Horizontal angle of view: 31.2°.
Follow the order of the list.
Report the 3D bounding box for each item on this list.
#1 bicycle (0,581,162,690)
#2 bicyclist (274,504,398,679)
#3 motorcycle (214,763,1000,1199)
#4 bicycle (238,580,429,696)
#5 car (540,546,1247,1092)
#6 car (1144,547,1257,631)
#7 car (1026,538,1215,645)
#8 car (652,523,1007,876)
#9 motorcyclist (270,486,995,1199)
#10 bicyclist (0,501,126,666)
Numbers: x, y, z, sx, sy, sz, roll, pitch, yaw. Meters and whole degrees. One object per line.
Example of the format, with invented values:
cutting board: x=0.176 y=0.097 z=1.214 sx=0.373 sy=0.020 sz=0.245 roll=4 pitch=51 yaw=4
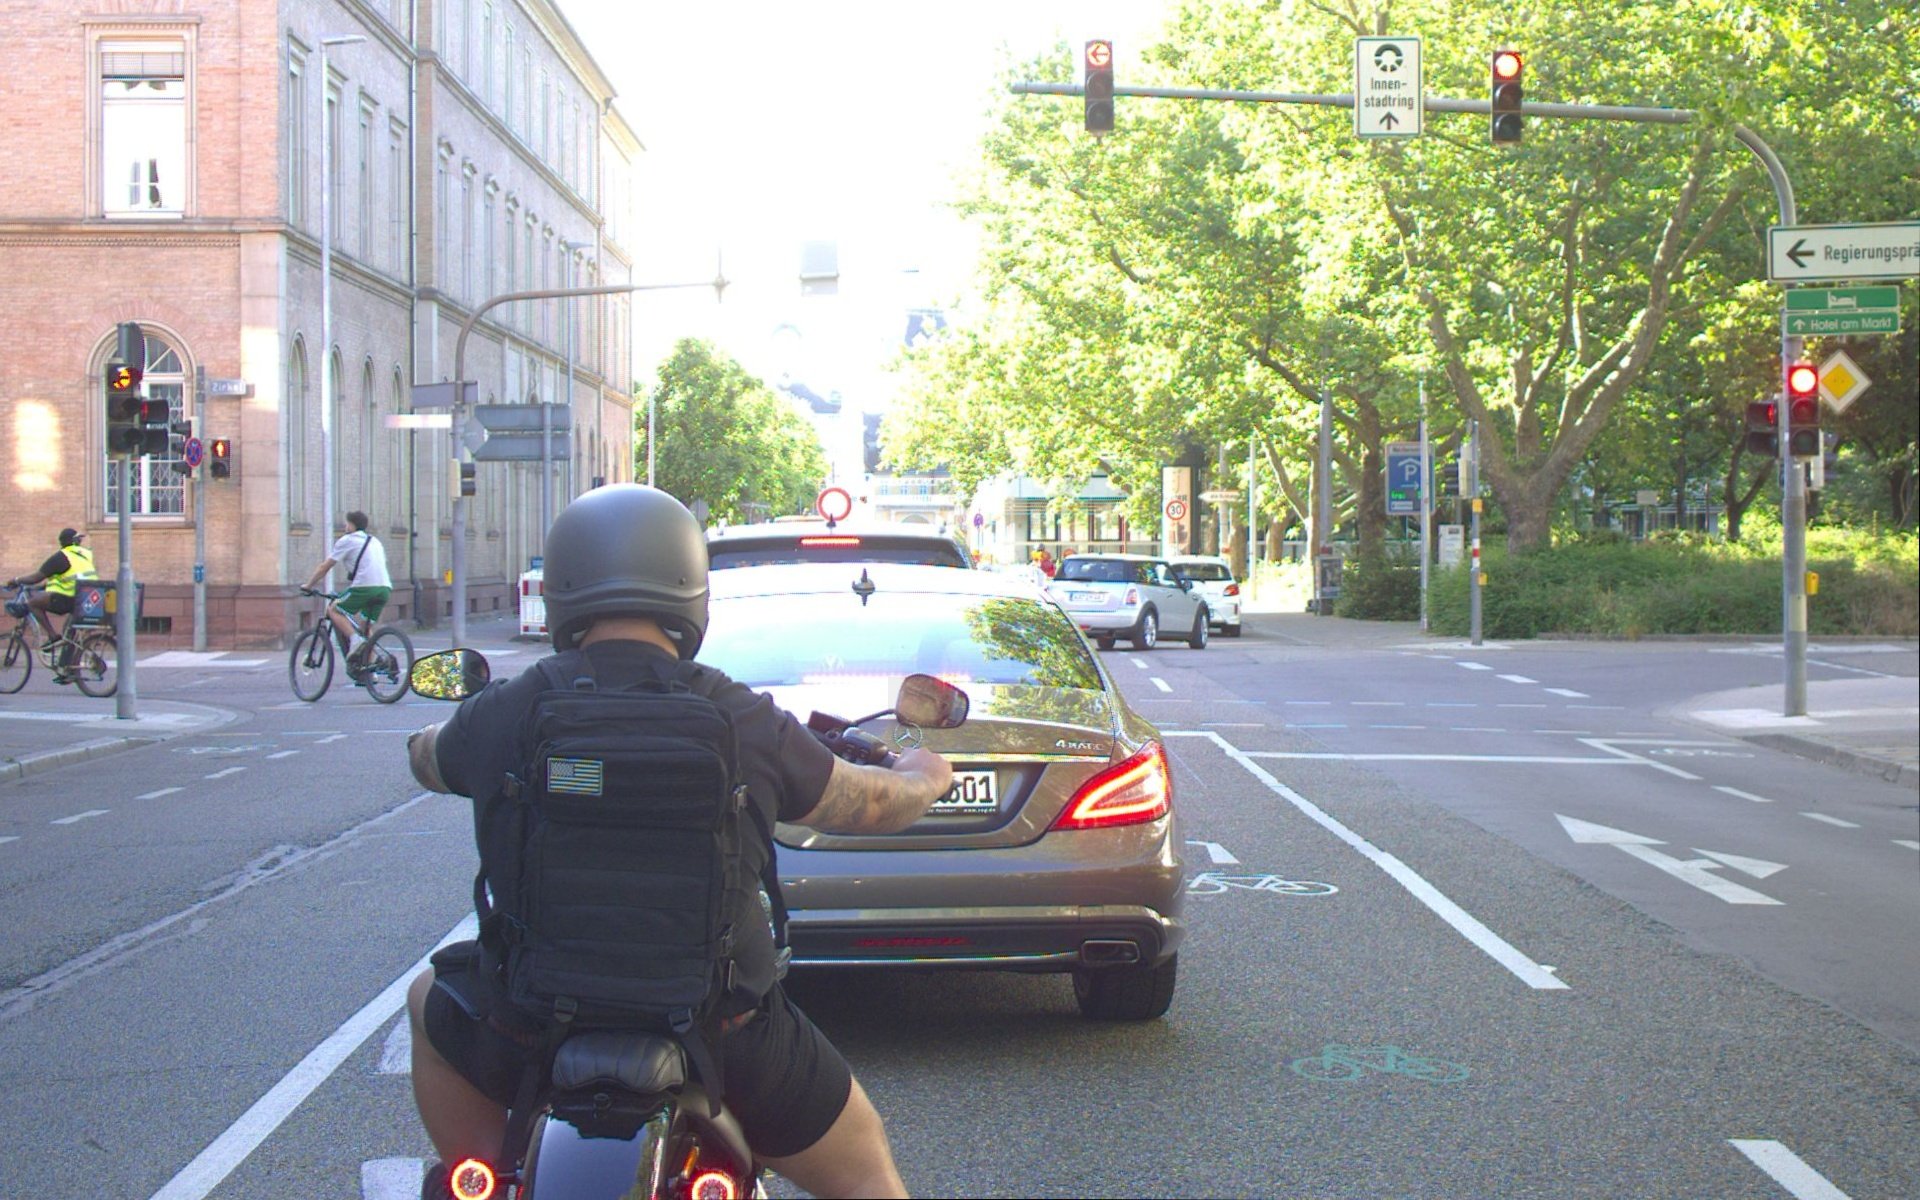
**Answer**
bicycle: x=-9.422 y=0.374 z=35.920 sx=2.159 sy=1.099 sz=0.704 roll=-1 pitch=0 yaw=28
bicyclist: x=-6.105 y=-0.091 z=33.633 sx=0.963 sy=1.687 sz=0.704 roll=0 pitch=1 yaw=33
motorcycle: x=-0.458 y=0.882 z=5.567 sx=0.989 sy=1.075 sz=2.452 roll=0 pitch=1 yaw=-1
bicycle: x=-6.143 y=0.358 z=33.662 sx=1.877 sy=1.099 sz=0.704 roll=0 pitch=1 yaw=34
car: x=-0.434 y=0.560 z=11.603 sx=1.945 sy=1.468 sz=4.363 roll=0 pitch=1 yaw=-7
car: x=4.392 y=-0.220 z=63.296 sx=1.856 sy=1.481 sz=3.908 roll=1 pitch=1 yaw=1
car: x=2.409 y=-0.153 z=50.658 sx=1.823 sy=1.475 sz=3.905 roll=-1 pitch=1 yaw=18
car: x=-0.641 y=0.409 z=17.768 sx=1.612 sy=1.602 sz=4.329 roll=0 pitch=1 yaw=-1
motorcyclist: x=-0.455 y=0.627 z=5.408 sx=0.989 sy=1.591 sz=1.404 roll=0 pitch=1 yaw=-1
bicyclist: x=-9.355 y=-0.167 z=35.864 sx=1.046 sy=1.689 sz=0.704 roll=-1 pitch=0 yaw=27
